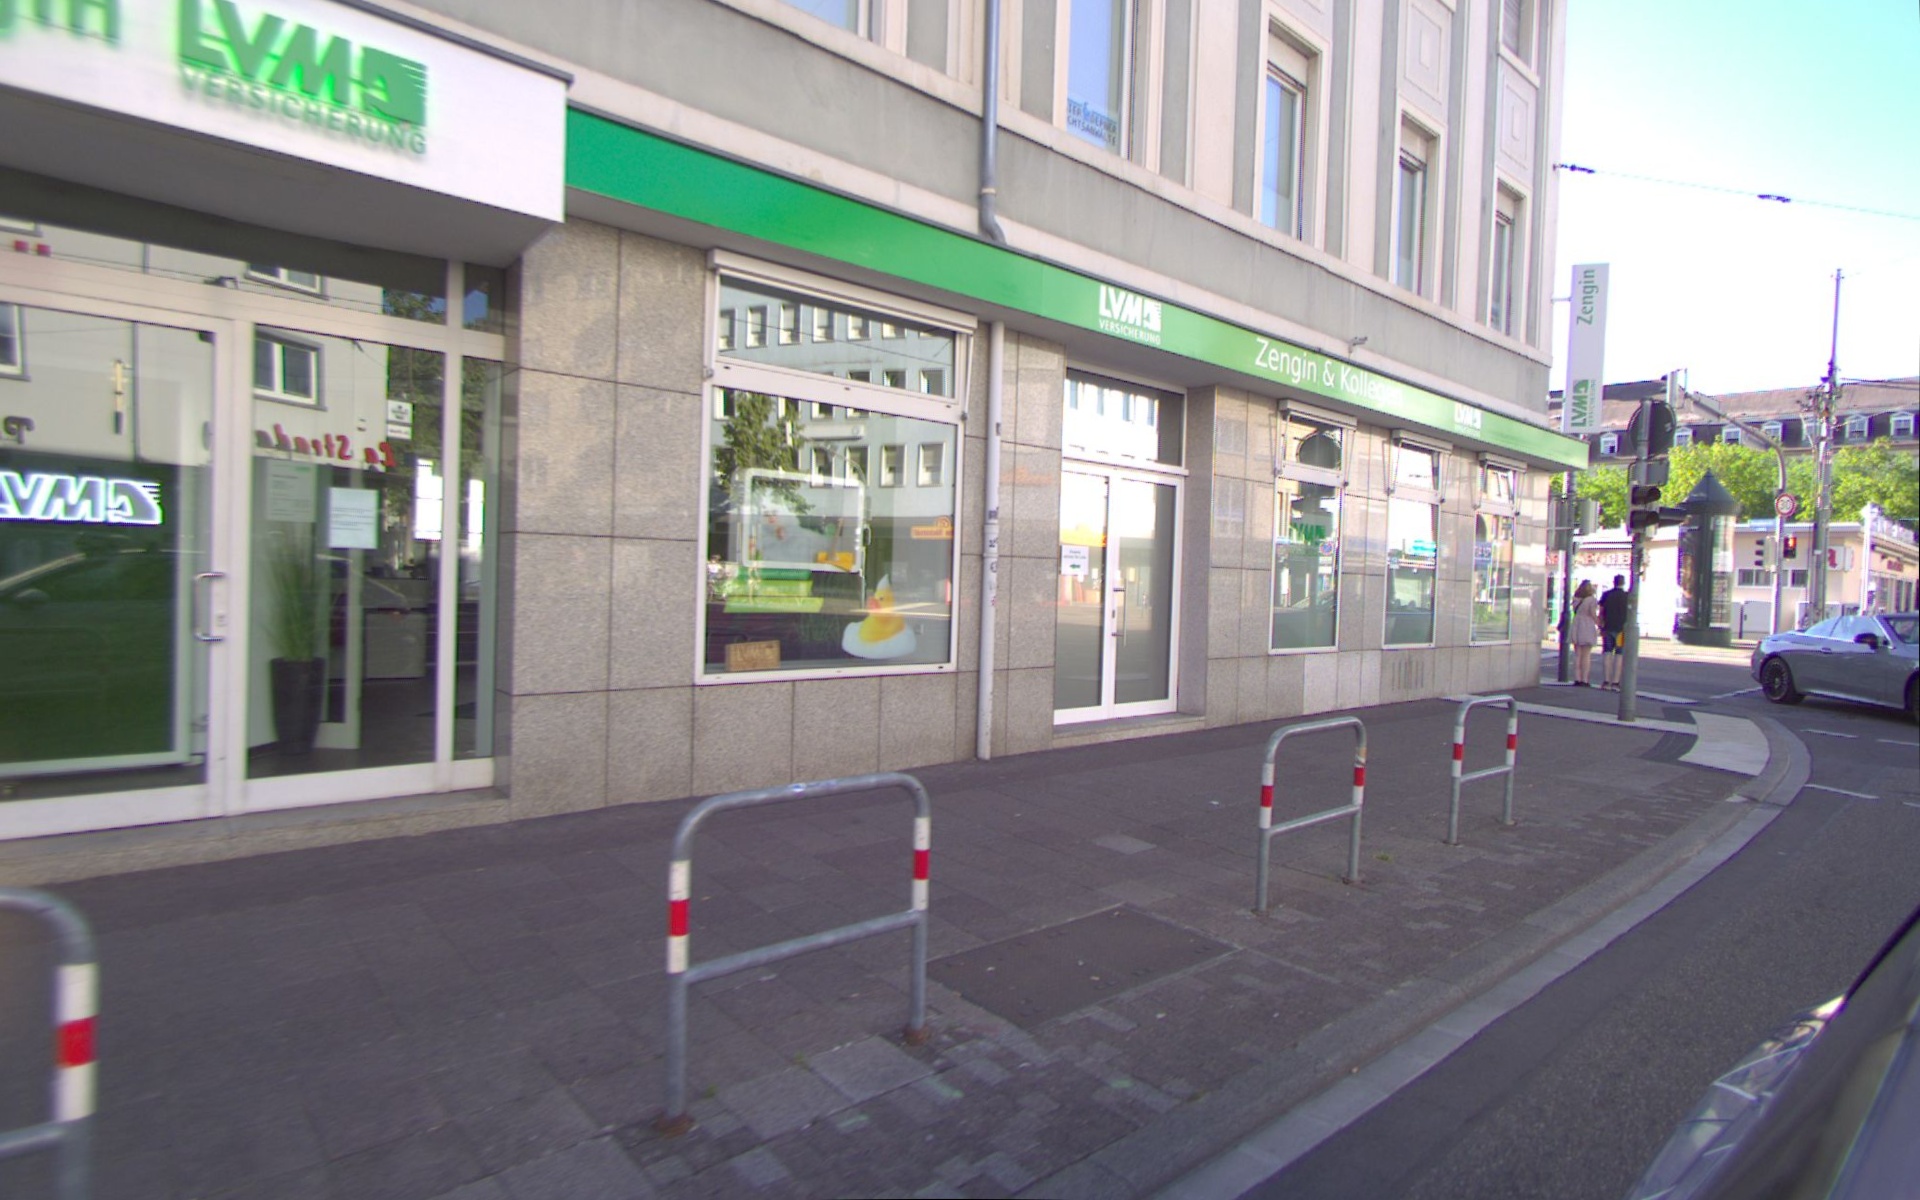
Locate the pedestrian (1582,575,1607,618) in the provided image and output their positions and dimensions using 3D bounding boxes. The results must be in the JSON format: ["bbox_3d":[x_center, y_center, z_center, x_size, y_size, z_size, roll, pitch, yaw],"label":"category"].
[{"bbox_3d":[26.155,-0.136,41.734,0.510,1.730,0.613,2,1,-17],"label":"pedestrian"}]

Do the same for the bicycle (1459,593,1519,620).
[{"bbox_3d":[21.906,0.255,41.899,1.980,1.015,0.889,2,1,-2],"label":"bicycle"}]

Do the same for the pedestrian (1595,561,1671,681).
[{"bbox_3d":[10.669,0.320,16.058,0.628,1.865,0.683,2,1,-17],"label":"pedestrian"}]

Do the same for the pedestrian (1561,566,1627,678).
[{"bbox_3d":[10.330,0.349,16.499,0.562,1.781,0.651,1,1,-17],"label":"pedestrian"}]

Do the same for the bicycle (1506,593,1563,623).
[{"bbox_3d":[22.516,0.314,39.681,1.953,1.101,0.755,1,1,-15],"label":"bicycle"}]

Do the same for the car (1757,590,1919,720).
[{"bbox_3d":[12.687,0.678,13.051,1.880,1.480,4.353,0,2,9],"label":"car"}]
